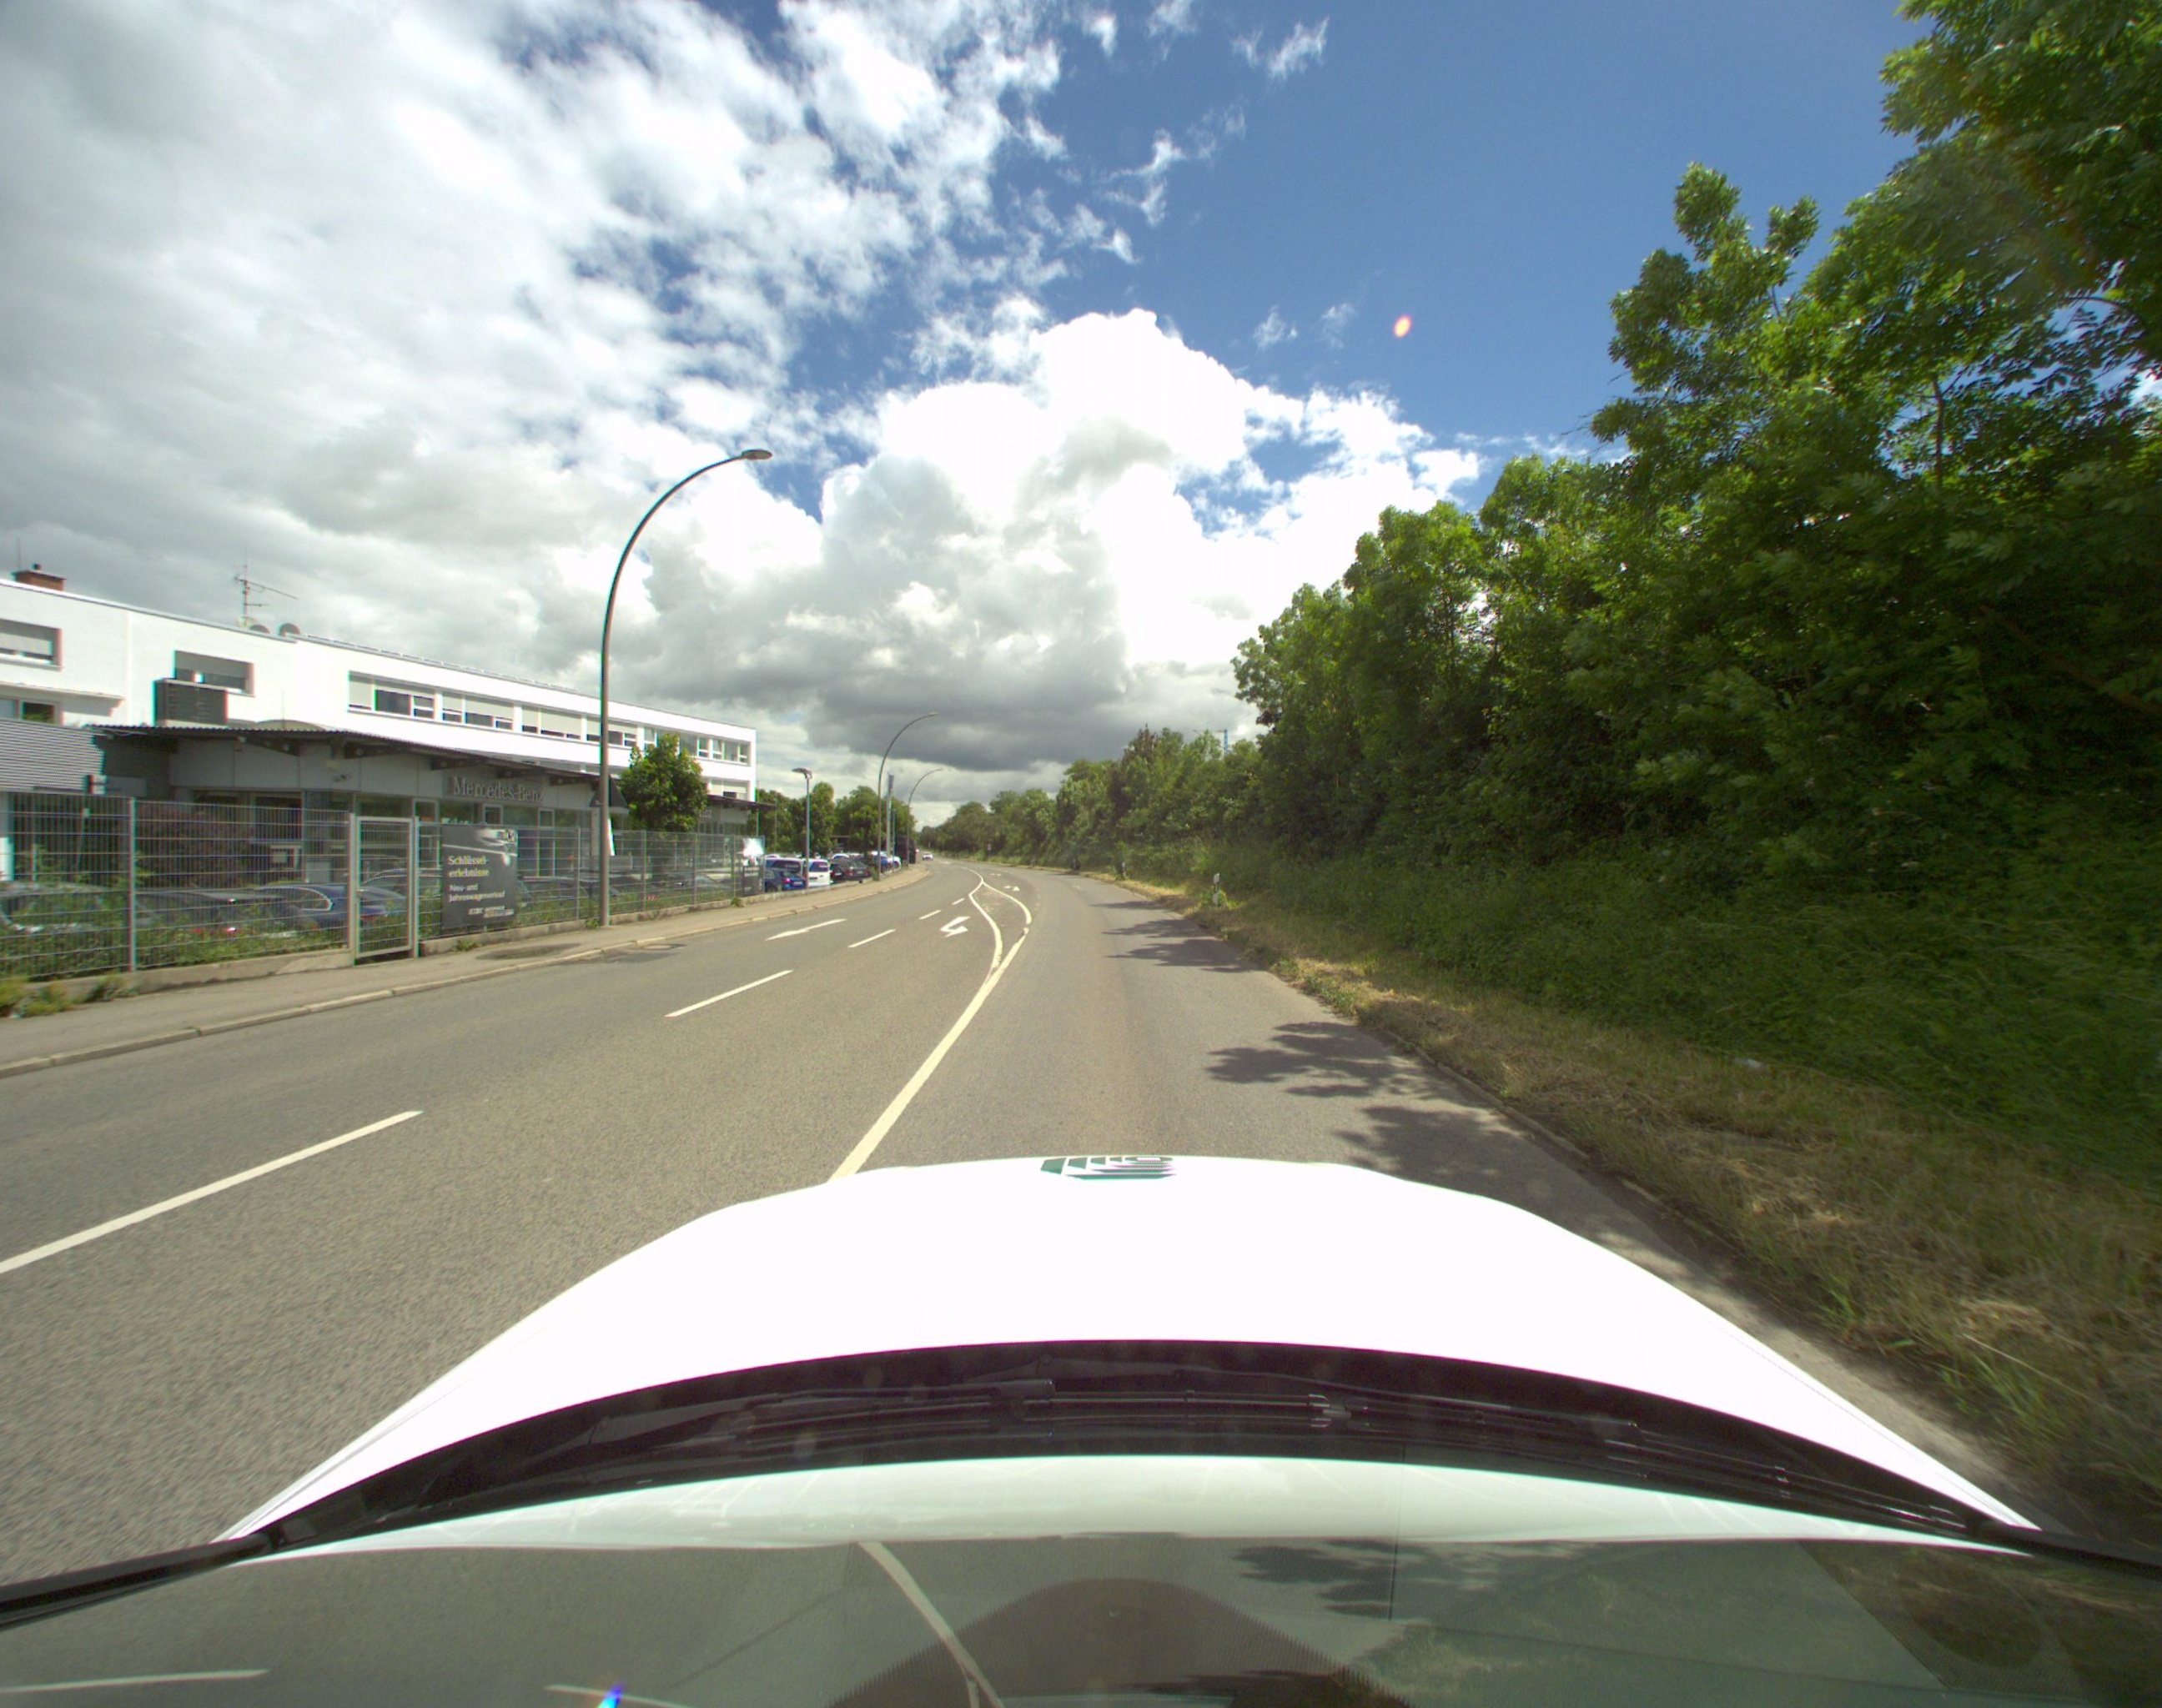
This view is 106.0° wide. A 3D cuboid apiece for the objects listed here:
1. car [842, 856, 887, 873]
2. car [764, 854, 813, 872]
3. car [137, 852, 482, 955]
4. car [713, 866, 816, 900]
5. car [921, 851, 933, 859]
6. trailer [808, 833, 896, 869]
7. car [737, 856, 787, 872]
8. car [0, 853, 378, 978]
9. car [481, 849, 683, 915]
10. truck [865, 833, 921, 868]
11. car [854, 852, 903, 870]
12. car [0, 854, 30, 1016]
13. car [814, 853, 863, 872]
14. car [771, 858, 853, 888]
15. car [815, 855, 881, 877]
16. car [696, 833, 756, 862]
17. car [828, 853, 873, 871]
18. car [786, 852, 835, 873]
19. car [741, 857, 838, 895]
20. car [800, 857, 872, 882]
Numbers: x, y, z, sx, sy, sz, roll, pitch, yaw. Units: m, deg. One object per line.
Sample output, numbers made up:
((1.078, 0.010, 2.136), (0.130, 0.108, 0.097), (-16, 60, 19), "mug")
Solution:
((-19.013, 0.911, 71.717), (1.610, 1.475, 4.023), (0, 0, 26), "car")
((-26.895, 0.828, 74.985), (1.975, 1.644, 4.023), (0, 0, 26), "car")
((-13.825, 0.846, 14.838), (4.177, 1.700, 2.173), (0, 0, 0), "car")
((-14.089, 1.264, 36.278), (4.153, 1.350, 1.948), (0, 0, 25), "car")
((-29.720, 0.223, 157.249), (1.996, 1.537, 3.982), (1, 0, -13), "car")
((-27.492, -0.409, 97.821), (9.771, 4.093, 2.802), (-2, 0, -26), "trailer")
((-29.470, 0.902, 75.345), (1.975, 1.455, 4.023), (0, 0, 26), "car")
((-13.816, 0.859, 12.490), (4.175, 1.700, 2.174), (0, 0, 1), "car")
((-13.575, 0.731, 22.349), (4.173, 1.700, 2.175), (0, 0, 3), "car")
((-23.092, -0.497, 99.925), (6.147, 4.093, 2.803), (-2, 0, -24), "truck")
((-20.466, 0.693, 82.449), (4.337, 1.763, 1.977), (1, 0, -40), "car")
((-13.492, 0.827, 7.775), (4.174, 1.700, 2.175), (0, 0, 3), "car")
((-21.832, 0.772, 73.363), (1.975, 1.631, 4.023), (0, 0, 26), "car")
((-15.177, 1.028, 45.999), (4.153, 1.601, 1.992), (0, 0, 25), "car")
((-15.701, 0.805, 54.822), (4.153, 1.401, 1.669), (0, 0, 25), "car")
((-43.393, -0.782, 99.865), (3.185, 3.335, 8.191), (0, 0, 4), "car")
((-21.989, 0.726, 77.929), (1.975, 1.653, 4.023), (0, 0, 26), "car")
((-24.532, 0.753, 74.005), (1.975, 1.830, 4.023), (0, 0, 26), "car")
((-13.866, 1.016, 38.809), (3.938, 1.700, 2.186), (0, 0, 25), "car")
((-15.364, 0.962, 51.101), (4.153, 1.479, 1.806), (0, 0, 25), "car")
